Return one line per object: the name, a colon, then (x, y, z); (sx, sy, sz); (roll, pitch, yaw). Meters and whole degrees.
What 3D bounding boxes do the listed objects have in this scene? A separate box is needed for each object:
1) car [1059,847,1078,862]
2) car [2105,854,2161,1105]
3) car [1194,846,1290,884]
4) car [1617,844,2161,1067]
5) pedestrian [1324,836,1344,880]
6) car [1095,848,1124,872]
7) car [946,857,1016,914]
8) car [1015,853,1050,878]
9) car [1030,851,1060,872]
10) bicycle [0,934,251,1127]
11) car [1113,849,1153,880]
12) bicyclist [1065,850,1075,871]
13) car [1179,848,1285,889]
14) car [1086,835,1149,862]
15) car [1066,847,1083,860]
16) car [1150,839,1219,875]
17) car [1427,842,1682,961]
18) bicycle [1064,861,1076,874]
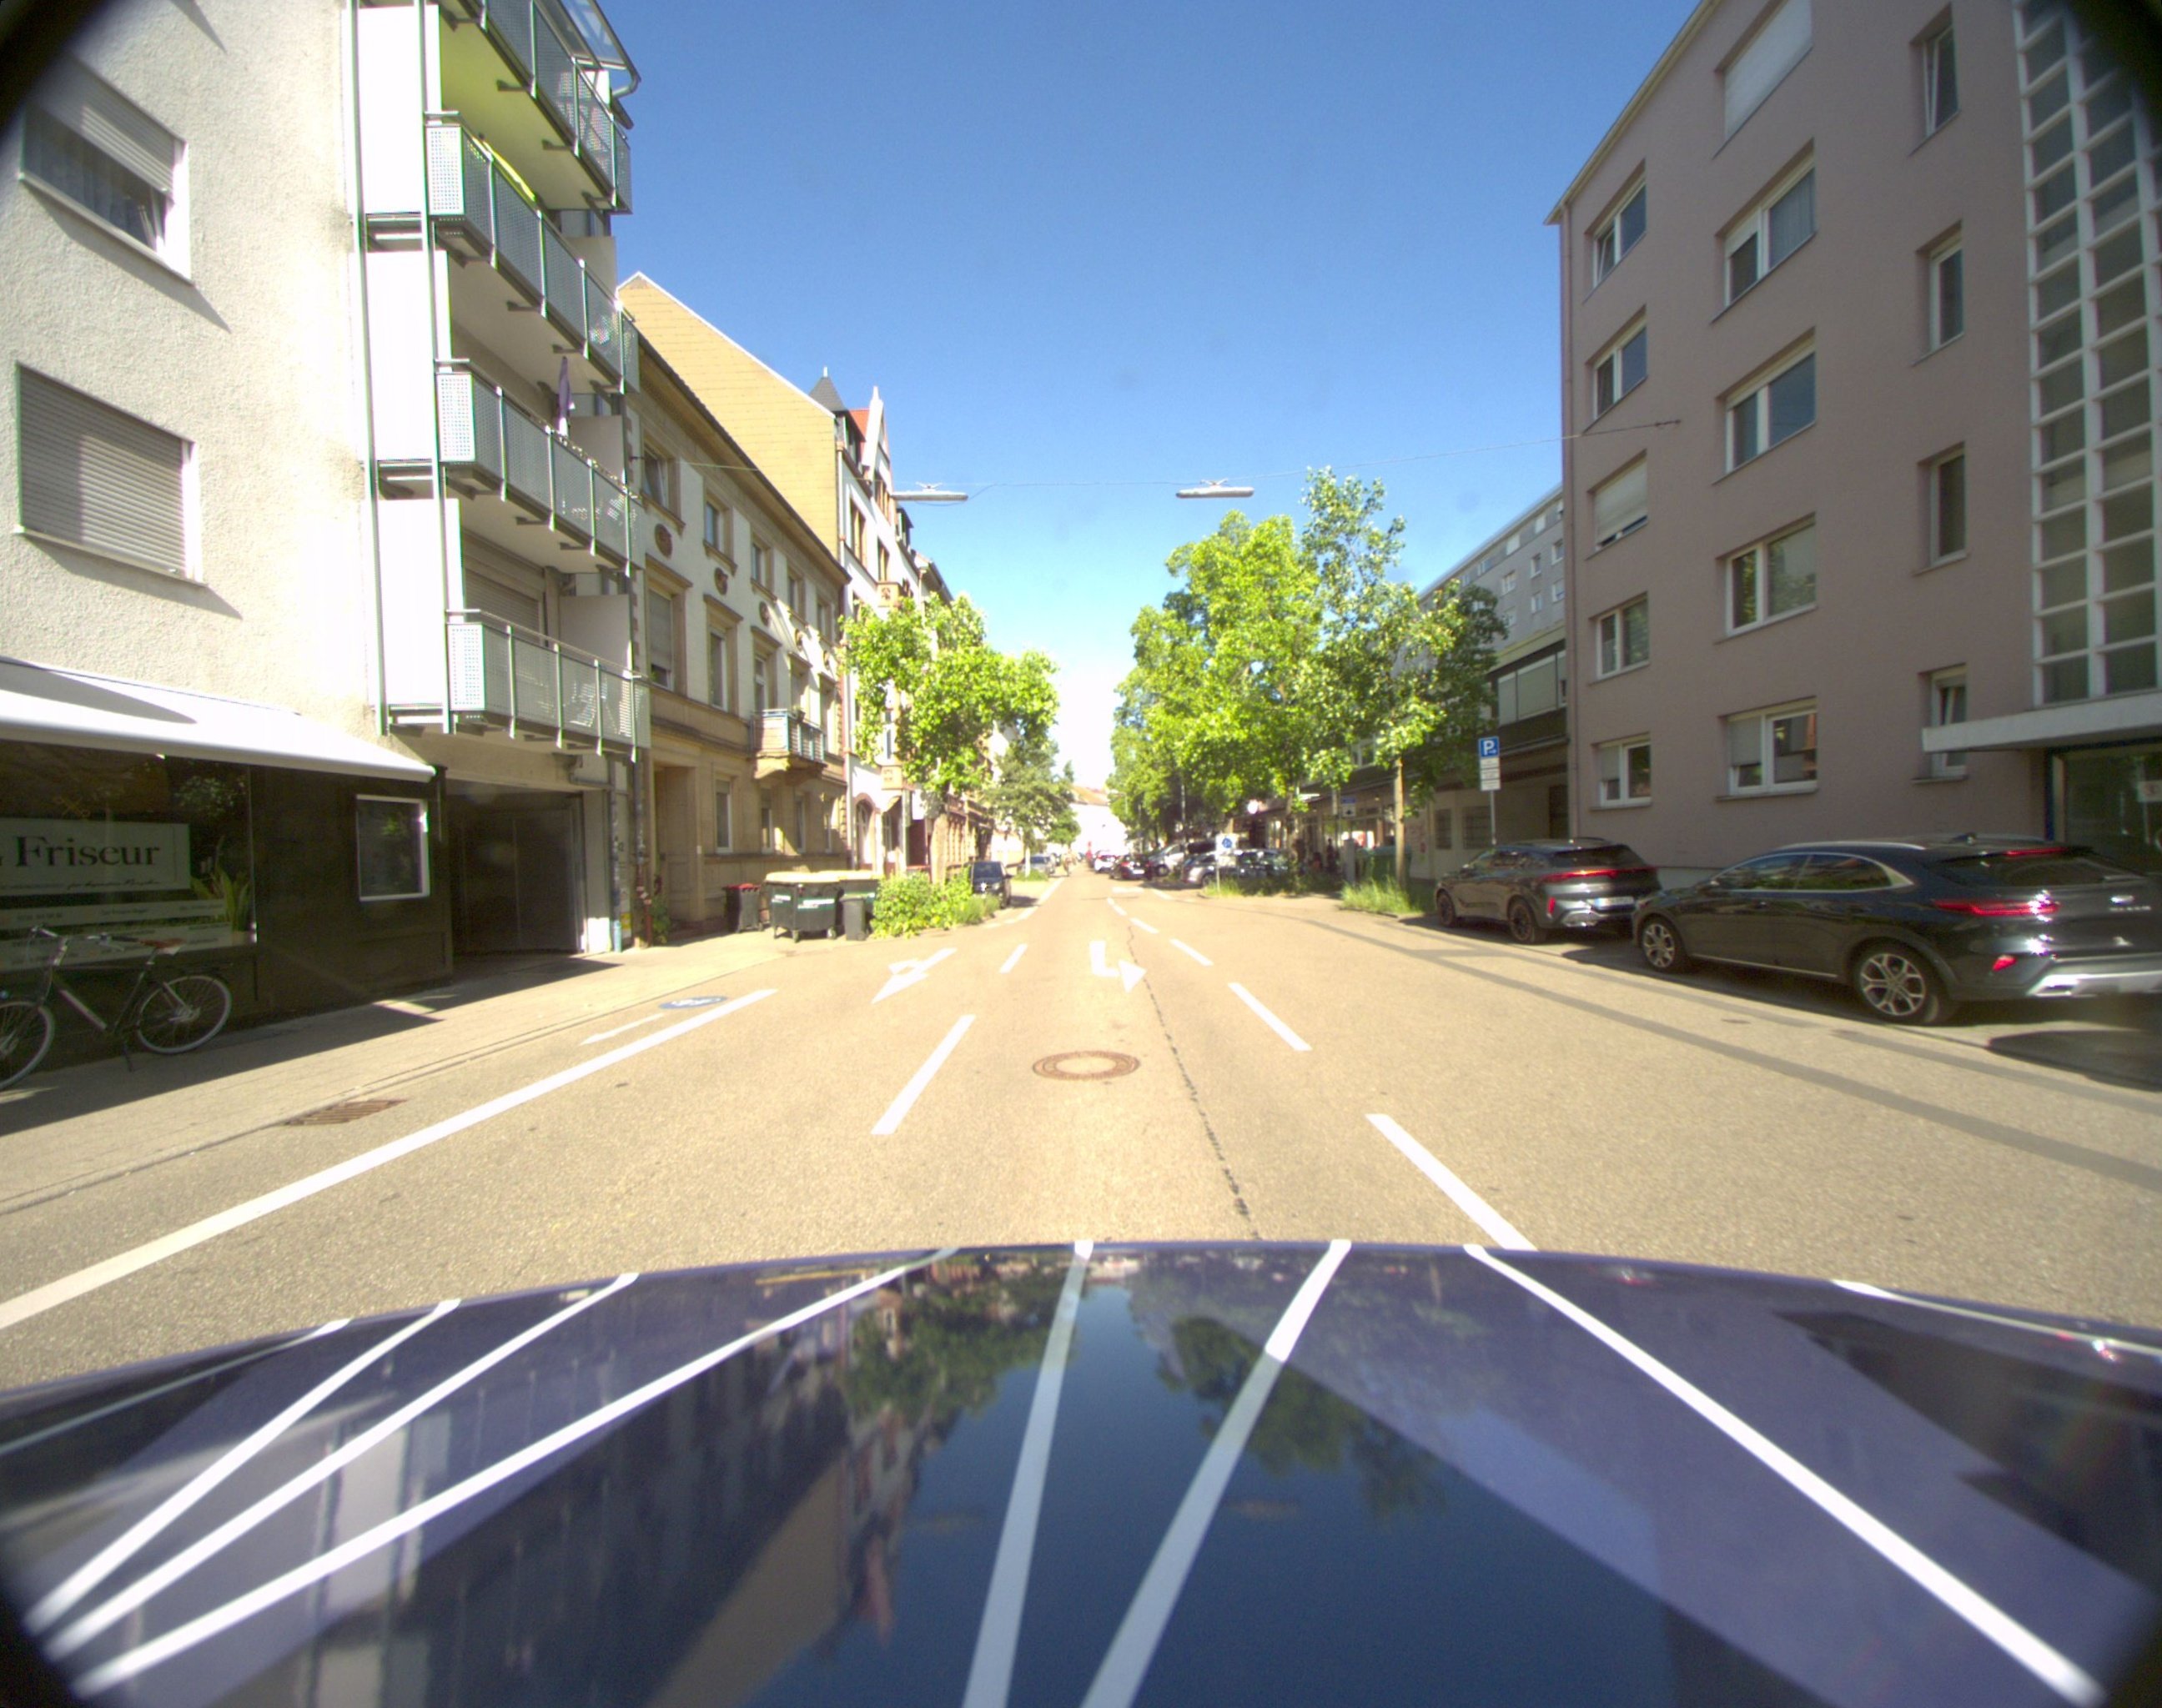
car: (-1.294, 0.024, 80.234); (1.713, 1.444, 3.547); (-2, 0, 2)
car: (7.390, 0.721, 2.378); (1.828, 1.494, 4.801); (-4, 0, 0)
car: (7.229, 0.485, 34.416); (3.996, 1.543, 1.913); (-2, 1, 3)
car: (7.497, 0.692, 7.367); (1.727, 1.459, 4.158); (-4, 0, 2)
pedestrian: (10.352, 0.162, 31.066); (0.623, 1.796, 0.502); (-2, 1, 2)
car: (1.958, 0.381, 53.094); (1.911, 1.543, 4.000); (-2, 0, 0)
car: (-3.049, 0.920, 23.747); (1.627, 1.587, 3.546); (-2, 0, 1)
car: (-2.894, 0.669, 46.337); (1.914, 1.444, 3.546); (-2, 0, -1)
car: (-2.637, 0.554, 55.973); (1.914, 1.444, 3.547); (-2, 0, 1)
bicycle: (-7.682, 1.292, 5.861); (0.598, 1.137, 1.774); (1, 1, 1)
car: (2.754, 0.512, 41.069); (1.911, 1.543, 4.000); (-2, 0, 0)
bicyclist: (-0.741, 0.441, 51.102); (0.582, 1.369, 0.665); (-2, 1, 5)
car: (6.114, 0.562, 31.144); (3.996, 1.543, 1.913); (-2, 1, 3)
car: (3.465, -0.485, 71.760); (5.564, 2.379, 1.976); (-2, 1, -14)
car: (-0.777, -0.087, 87.415); (1.713, 1.444, 3.547); (-2, 0, 2)
car: (6.135, 0.170, 45.399); (3.875, 2.031, 1.913); (-2, 1, 3)
car: (7.573, 0.652, 12.715); (1.727, 1.567, 4.158); (-4, 0, 2)
bicycle: (-0.730, 0.910, 51.138); (0.582, 0.801, 1.710); (-2, 1, 6)
